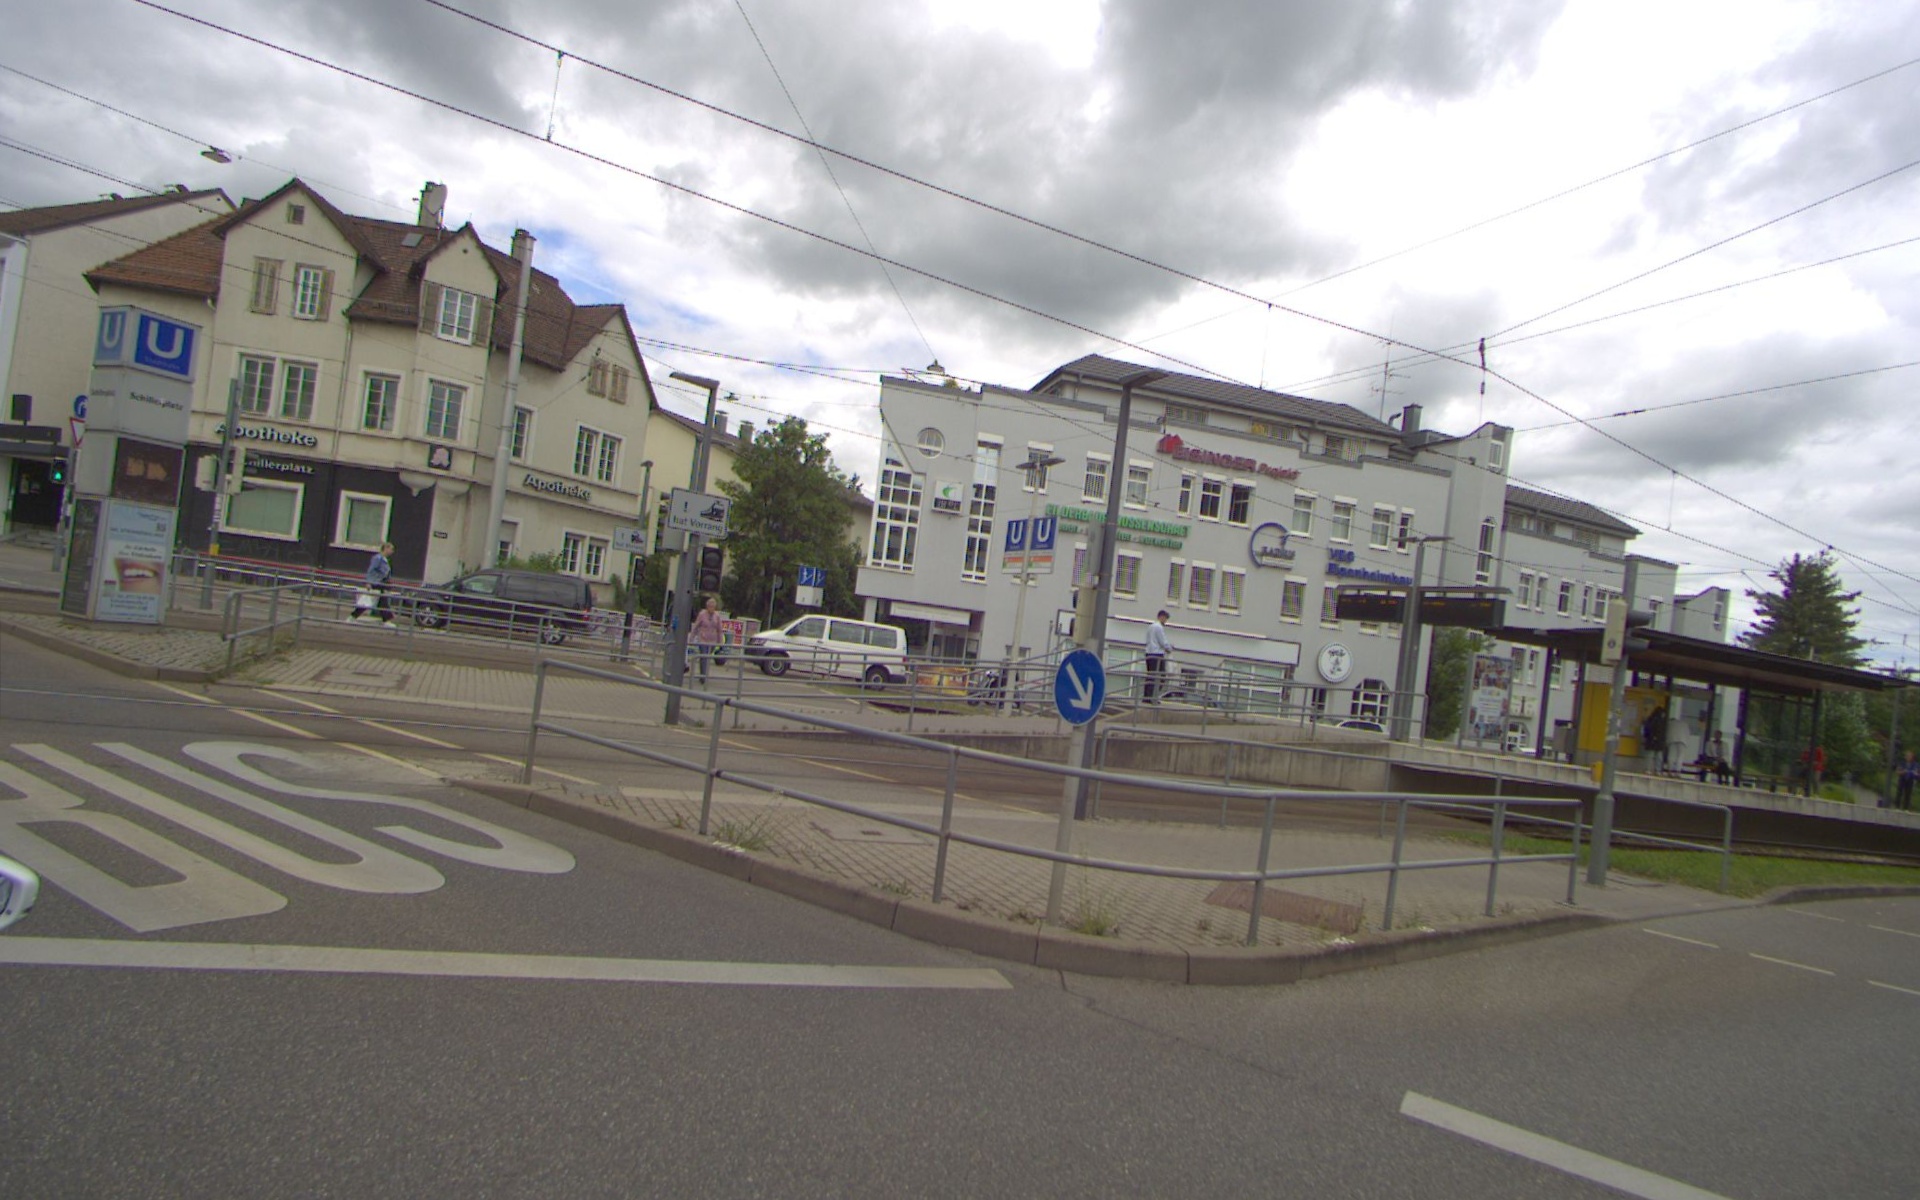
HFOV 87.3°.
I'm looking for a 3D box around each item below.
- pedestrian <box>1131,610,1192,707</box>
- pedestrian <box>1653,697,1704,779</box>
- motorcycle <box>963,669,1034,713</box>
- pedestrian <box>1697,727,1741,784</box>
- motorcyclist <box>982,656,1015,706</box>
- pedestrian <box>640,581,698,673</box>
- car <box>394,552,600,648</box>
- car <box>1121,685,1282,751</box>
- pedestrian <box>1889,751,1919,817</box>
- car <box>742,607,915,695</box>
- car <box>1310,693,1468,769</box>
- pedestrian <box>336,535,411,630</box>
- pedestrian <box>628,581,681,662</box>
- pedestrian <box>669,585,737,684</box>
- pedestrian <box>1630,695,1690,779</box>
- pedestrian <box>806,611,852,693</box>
[{"bbox_3d":[3.838,1.100,19.184,0.642,1.739,0.700,7,0,-26],"label":"pedestrian"},{"bbox_3d":[17.008,3.271,23.825,0.776,1.794,0.689,7,-2,34],"label":"pedestrian"},{"bbox_3d":[1.184,2.810,31.076,1.950,1.085,0.762,8,-3,-16],"label":"motorcycle"},{"bbox_3d":[19.043,3.897,25.242,0.582,1.279,0.567,9,-2,-25],"label":"pedestrian"},{"bbox_3d":[1.190,2.492,31.077,0.682,1.410,0.762,8,-2,-15],"label":"motorcyclist"},{"bbox_3d":[-5.867,0.553,20.287,0.638,1.739,0.704,7,0,22],"label":"pedestrian"},{"bbox_3d":[-12.178,0.031,26.785,4.635,1.842,1.855,9,-2,-22],"label":"car"},{"bbox_3d":[7.951,3.892,33.272,4.711,1.487,1.986,8,-3,-16],"label":"car"},{"bbox_3d":[26.837,5.188,28.317,0.685,1.737,0.781,10,-2,-39],"label":"pedestrian"},{"bbox_3d":[-3.930,1.512,29.897,4.711,1.940,1.986,8,-3,-16],"label":"car"},{"bbox_3d":[14.887,4.527,34.923,4.711,1.940,1.986,8,-3,-16],"label":"car"},{"bbox_3d":[-11.549,-0.333,19.830,0.714,1.739,0.844,7,0,21],"label":"pedestrian"},{"bbox_3d":[-7.047,0.504,23.223,0.783,1.737,0.644,10,-2,-35],"label":"pedestrian"},{"bbox_3d":[-4.849,0.652,19.019,0.641,1.737,0.786,7,-2,42],"label":"pedestrian"},{"bbox_3d":[15.868,3.094,22.795,0.781,1.737,0.685,9,-2,-30],"label":"pedestrian"},{"bbox_3d":[-2.953,1.152,22.558,0.641,1.737,0.786,9,-2,-19],"label":"pedestrian"}]
